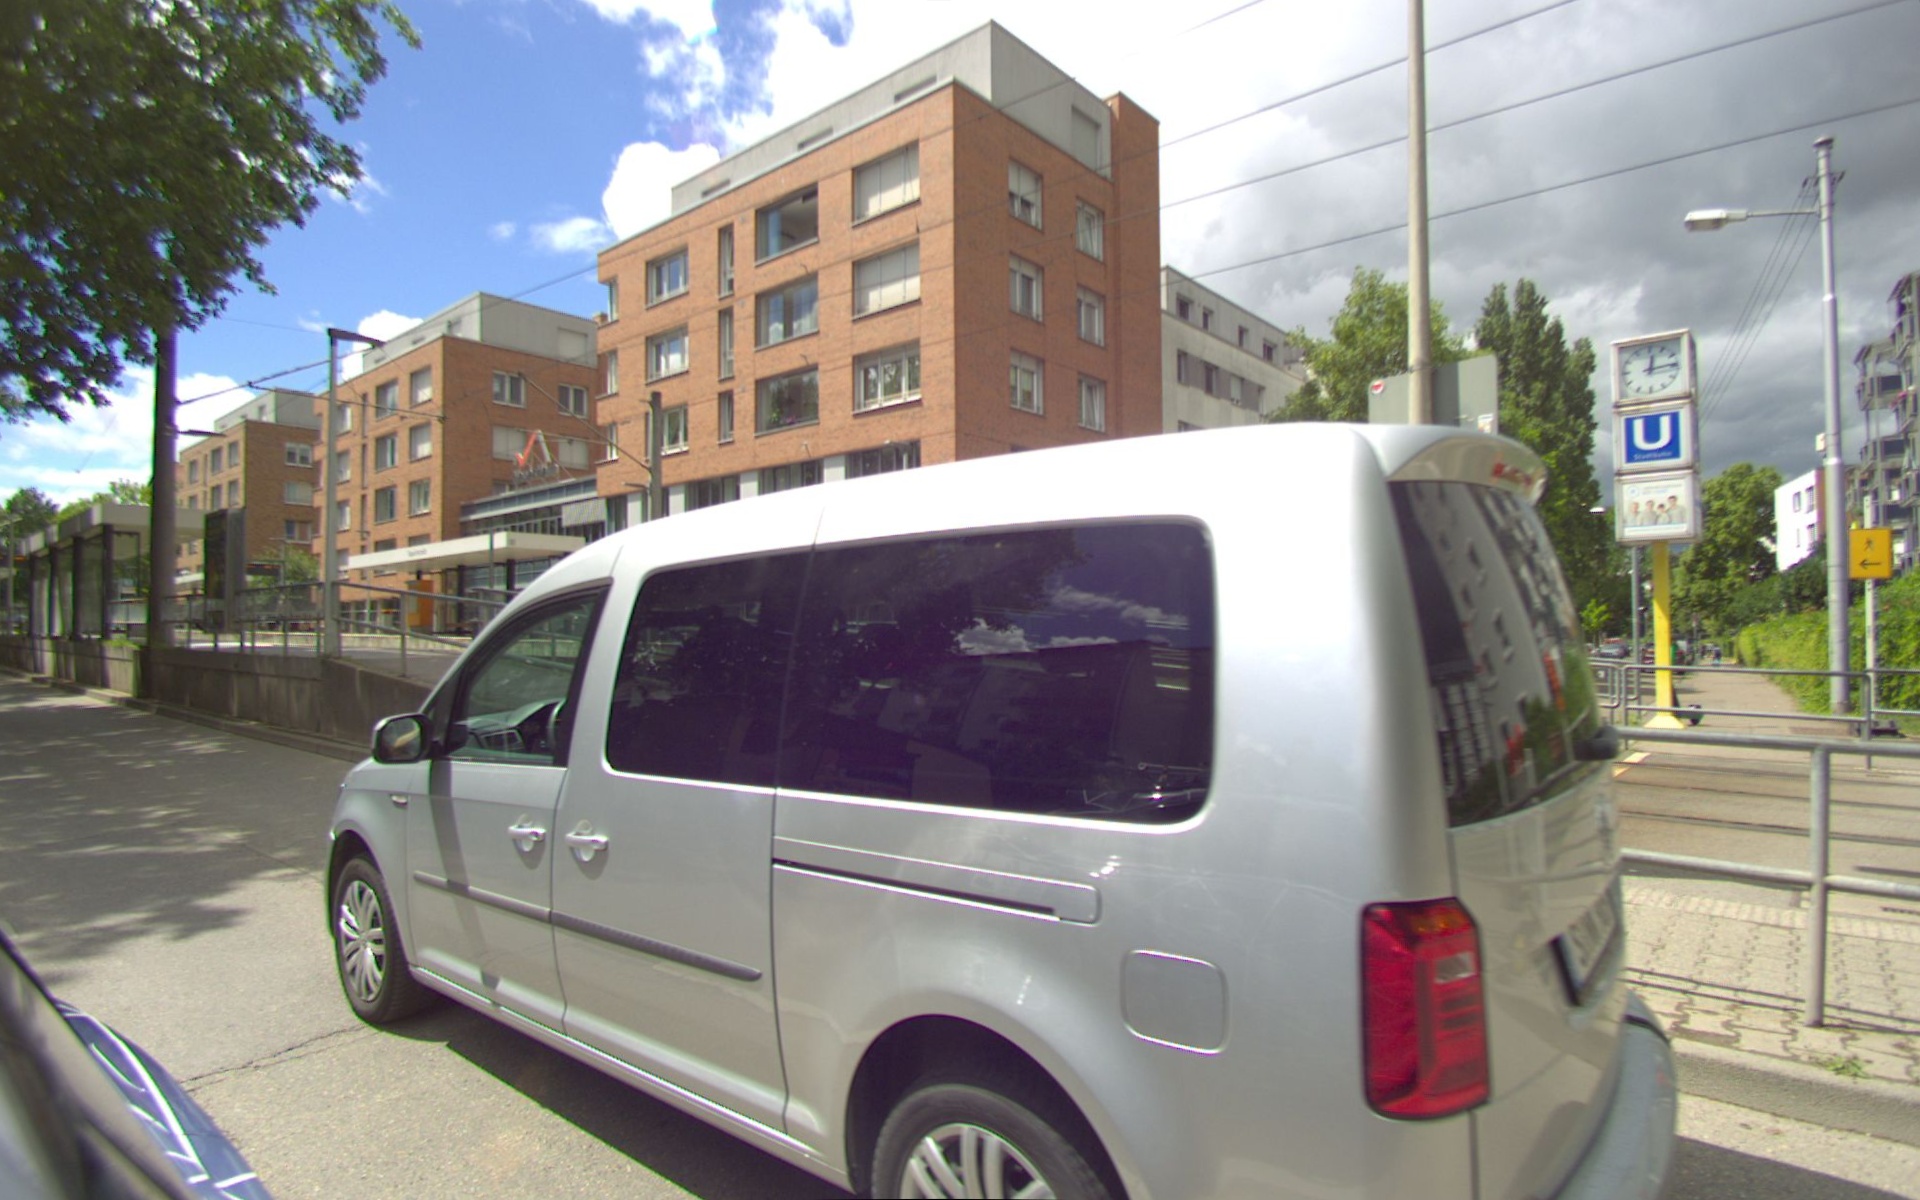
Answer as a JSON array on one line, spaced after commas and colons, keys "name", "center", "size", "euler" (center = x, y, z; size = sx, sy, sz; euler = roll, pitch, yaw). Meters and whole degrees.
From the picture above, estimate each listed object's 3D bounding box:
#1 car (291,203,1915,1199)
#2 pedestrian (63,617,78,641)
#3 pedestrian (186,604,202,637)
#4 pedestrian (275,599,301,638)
[{"name": "car", "center": [-0.282, 0.560, 3.186], "size": [4.641, 1.854, 1.736], "euler": [-2, -1, 39]}, {"name": "pedestrian", "center": [-68.095, 2.196, 77.490], "size": [0.828, 1.839, 0.736], "euler": [-2, -3, 39]}, {"name": "pedestrian", "center": [-40.942, 1.092, 54.083], "size": [0.527, 1.777, 0.529], "euler": [-1, -2, 38]}, {"name": "pedestrian", "center": [-28.709, 0.796, 43.219], "size": [0.815, 1.641, 0.743], "euler": [-1, -1, 41]}]
